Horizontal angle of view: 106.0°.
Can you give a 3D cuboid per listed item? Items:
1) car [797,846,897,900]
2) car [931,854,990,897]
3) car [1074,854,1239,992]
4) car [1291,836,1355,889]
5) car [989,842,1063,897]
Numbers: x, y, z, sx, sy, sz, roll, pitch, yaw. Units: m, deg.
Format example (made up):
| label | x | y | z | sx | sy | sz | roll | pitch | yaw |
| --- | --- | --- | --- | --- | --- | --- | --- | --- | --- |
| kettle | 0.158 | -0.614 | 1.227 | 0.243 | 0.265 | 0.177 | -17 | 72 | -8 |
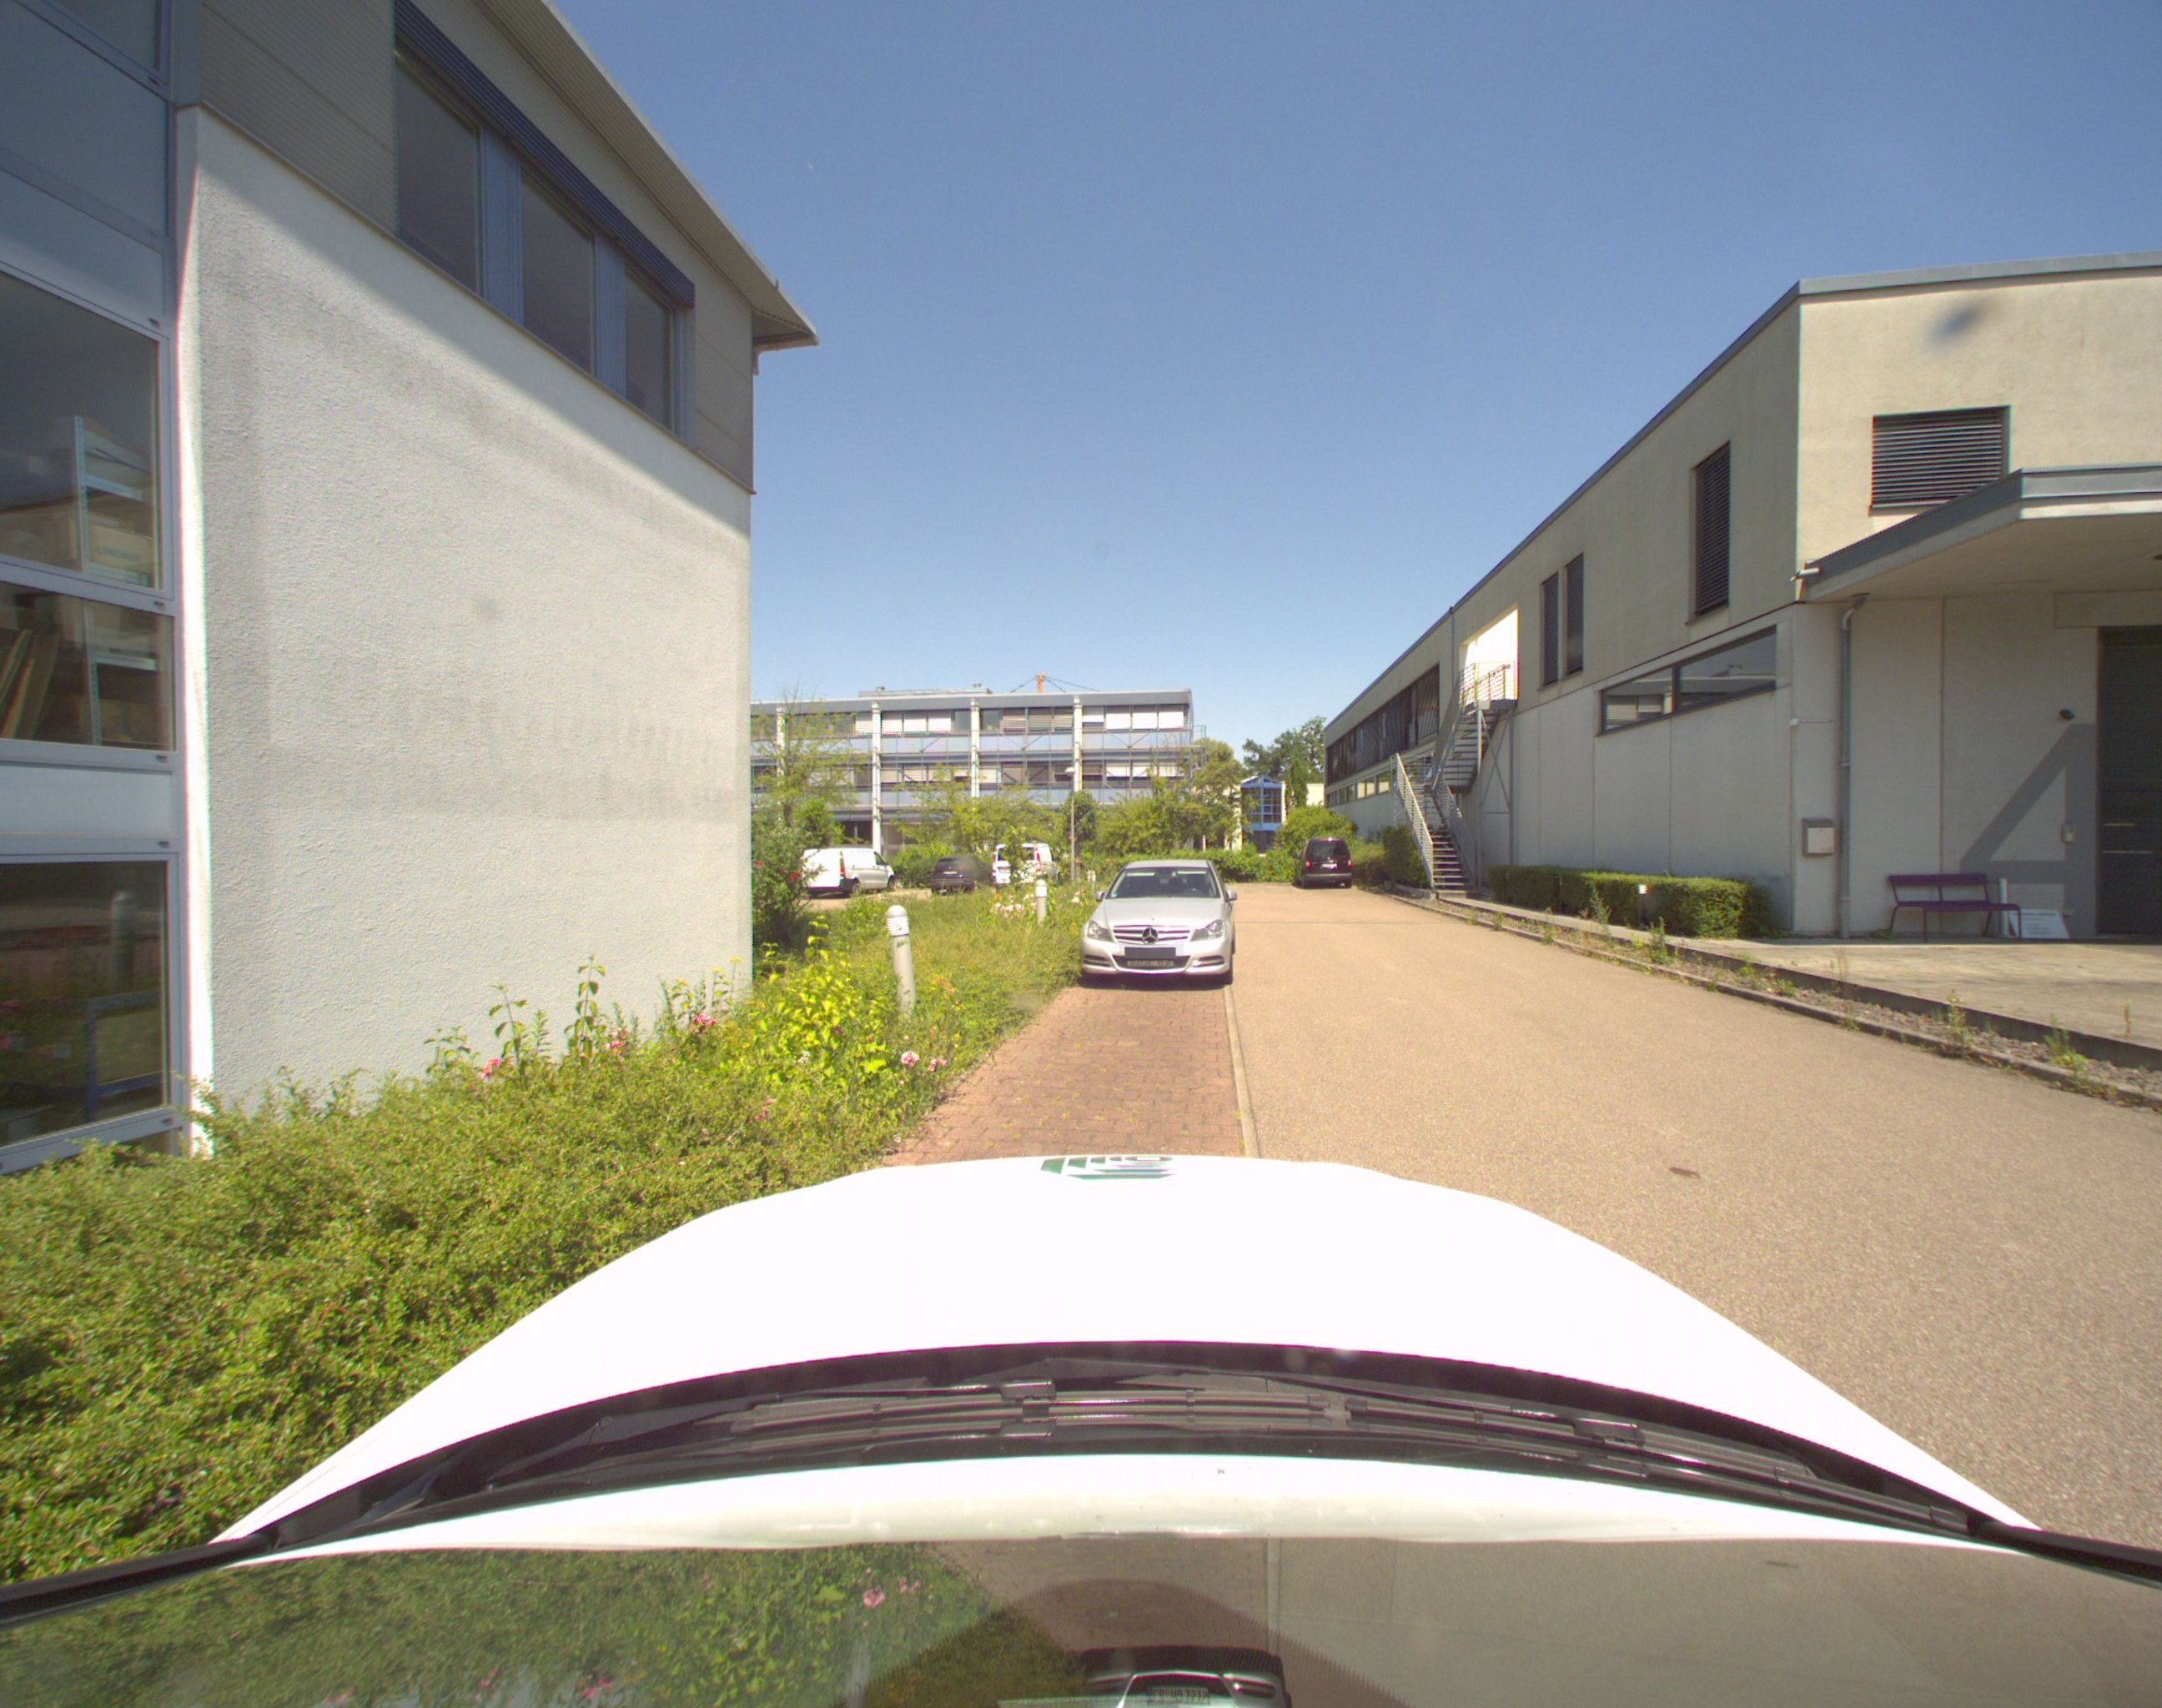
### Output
| label | x | y | z | sx | sy | sz | roll | pitch | yaw |
| --- | --- | --- | --- | --- | --- | --- | --- | --- | --- |
| car | -9.198 | 0.687 | 32.513 | 1.870 | 1.891 | 4.817 | -1 | 1 | 10 |
| car | -4.709 | 0.782 | 32.228 | 1.749 | 1.476 | 3.999 | -2 | 1 | -1 |
| car | 1.196 | 0.754 | 10.879 | 1.718 | 1.457 | 4.161 | -2 | 0 | 11 |
| car | 9.063 | 0.294 | 30.787 | 1.733 | 1.837 | 4.009 | -2 | 0 | 8 |
| car | -2.012 | 0.530 | 31.509 | 1.903 | 1.905 | 4.818 | -2 | 1 | 7 |
